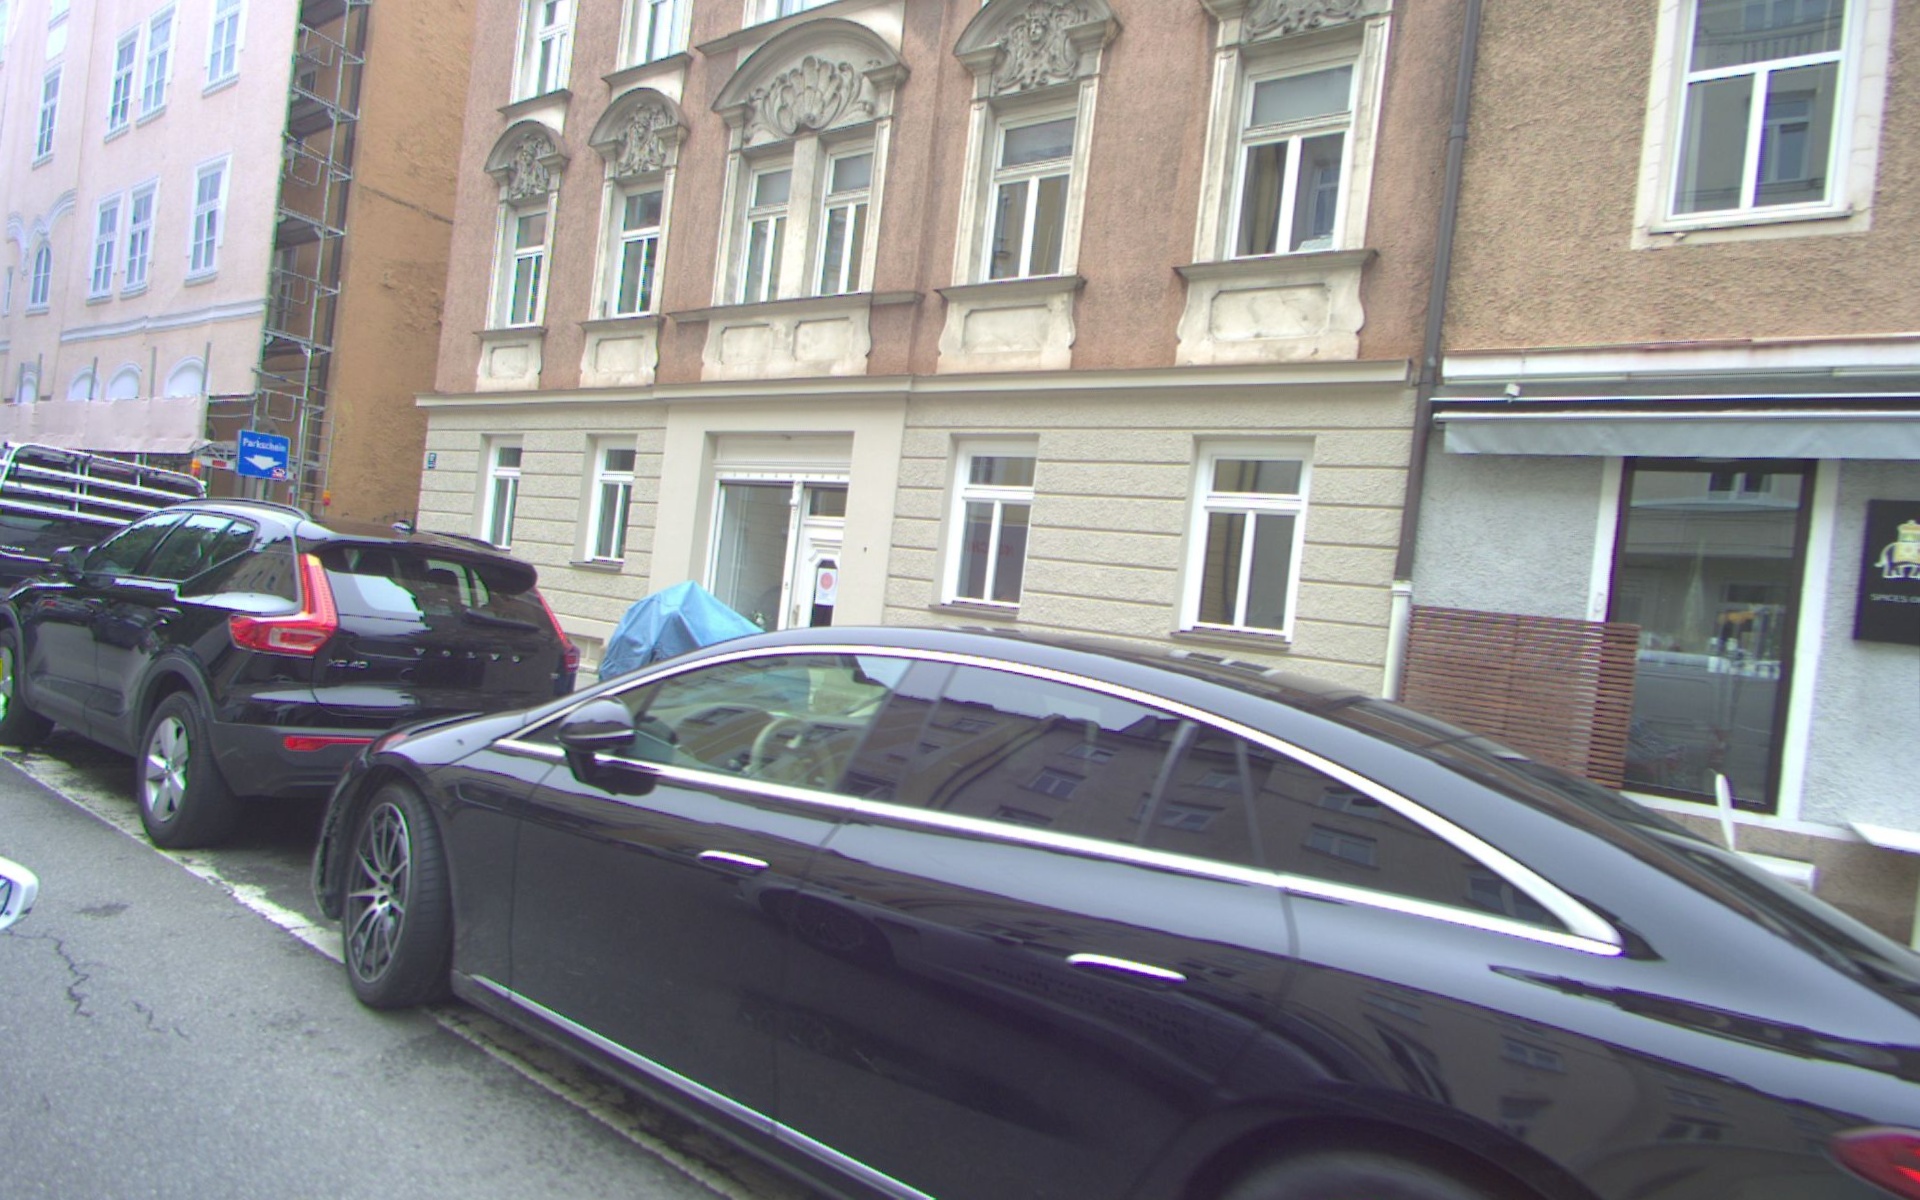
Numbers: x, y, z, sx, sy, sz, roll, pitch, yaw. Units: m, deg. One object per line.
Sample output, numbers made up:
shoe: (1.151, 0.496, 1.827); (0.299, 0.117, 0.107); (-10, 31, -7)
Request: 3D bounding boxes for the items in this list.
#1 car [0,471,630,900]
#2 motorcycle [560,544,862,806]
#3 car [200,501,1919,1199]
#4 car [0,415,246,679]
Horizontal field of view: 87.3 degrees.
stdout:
car: (-4.163, 0.294, 5.998); (4.337, 1.694, 1.697); (6, -3, 34)
motorcycle: (-1.810, 0.474, 7.180); (1.965, 1.523, 0.872); (7, 0, 35)
car: (0.037, 0.763, 3.165); (5.544, 1.571, 1.934); (7, -1, 32)
car: (-9.131, -0.504, 9.518); (5.060, 1.942, 2.085); (4, -3, 34)
